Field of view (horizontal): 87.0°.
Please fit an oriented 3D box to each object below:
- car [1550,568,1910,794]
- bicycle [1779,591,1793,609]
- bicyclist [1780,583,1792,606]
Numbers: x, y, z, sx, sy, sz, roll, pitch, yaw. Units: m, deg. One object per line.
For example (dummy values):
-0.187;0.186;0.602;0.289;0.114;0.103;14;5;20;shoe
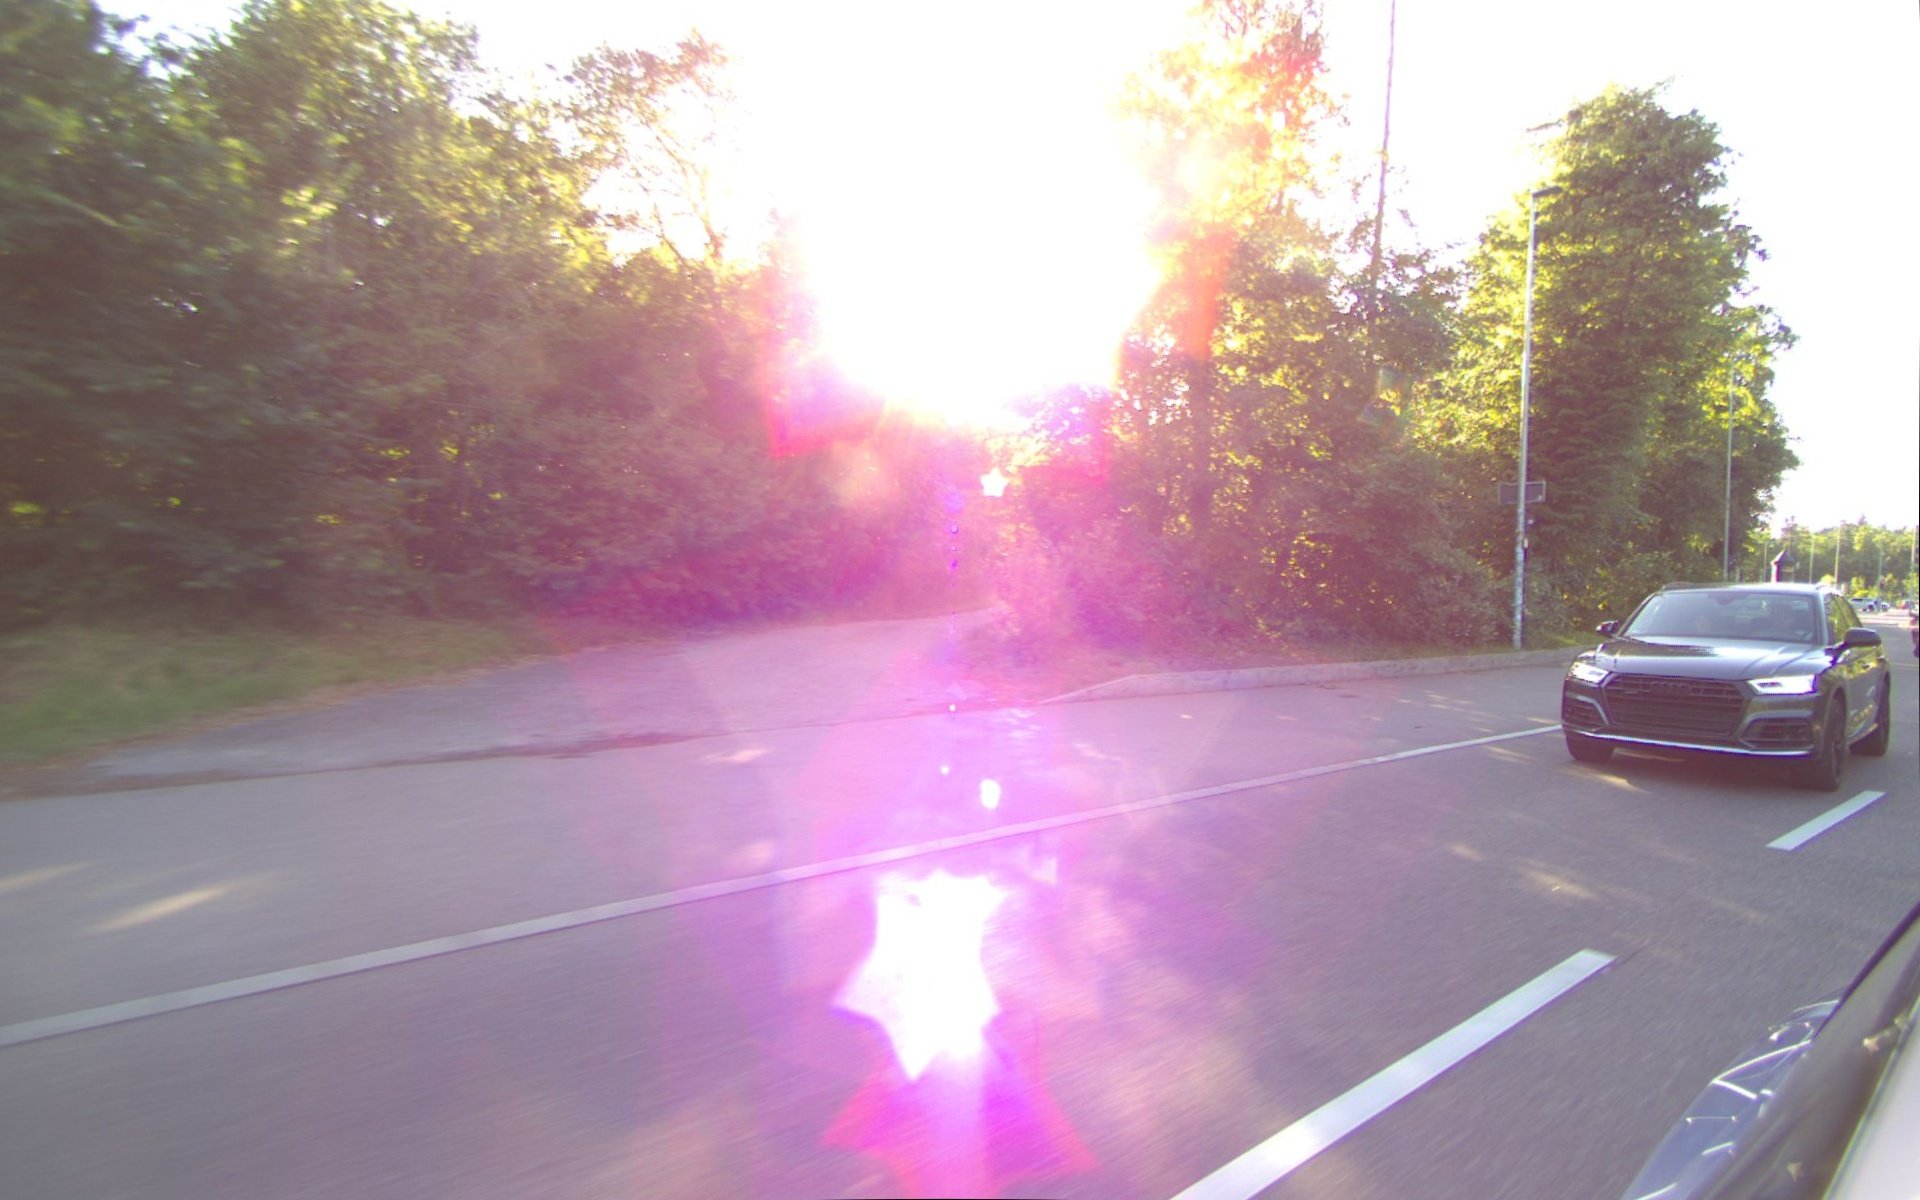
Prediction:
7.363;0.560;9.498;4.466;1.625;1.896;0;1;-42;car
52.082;-0.006;63.812;0.552;1.151;1.840;1;1;35;bicycle
52.124;-0.352;63.856;0.519;1.487;0.850;1;1;36;bicyclist
